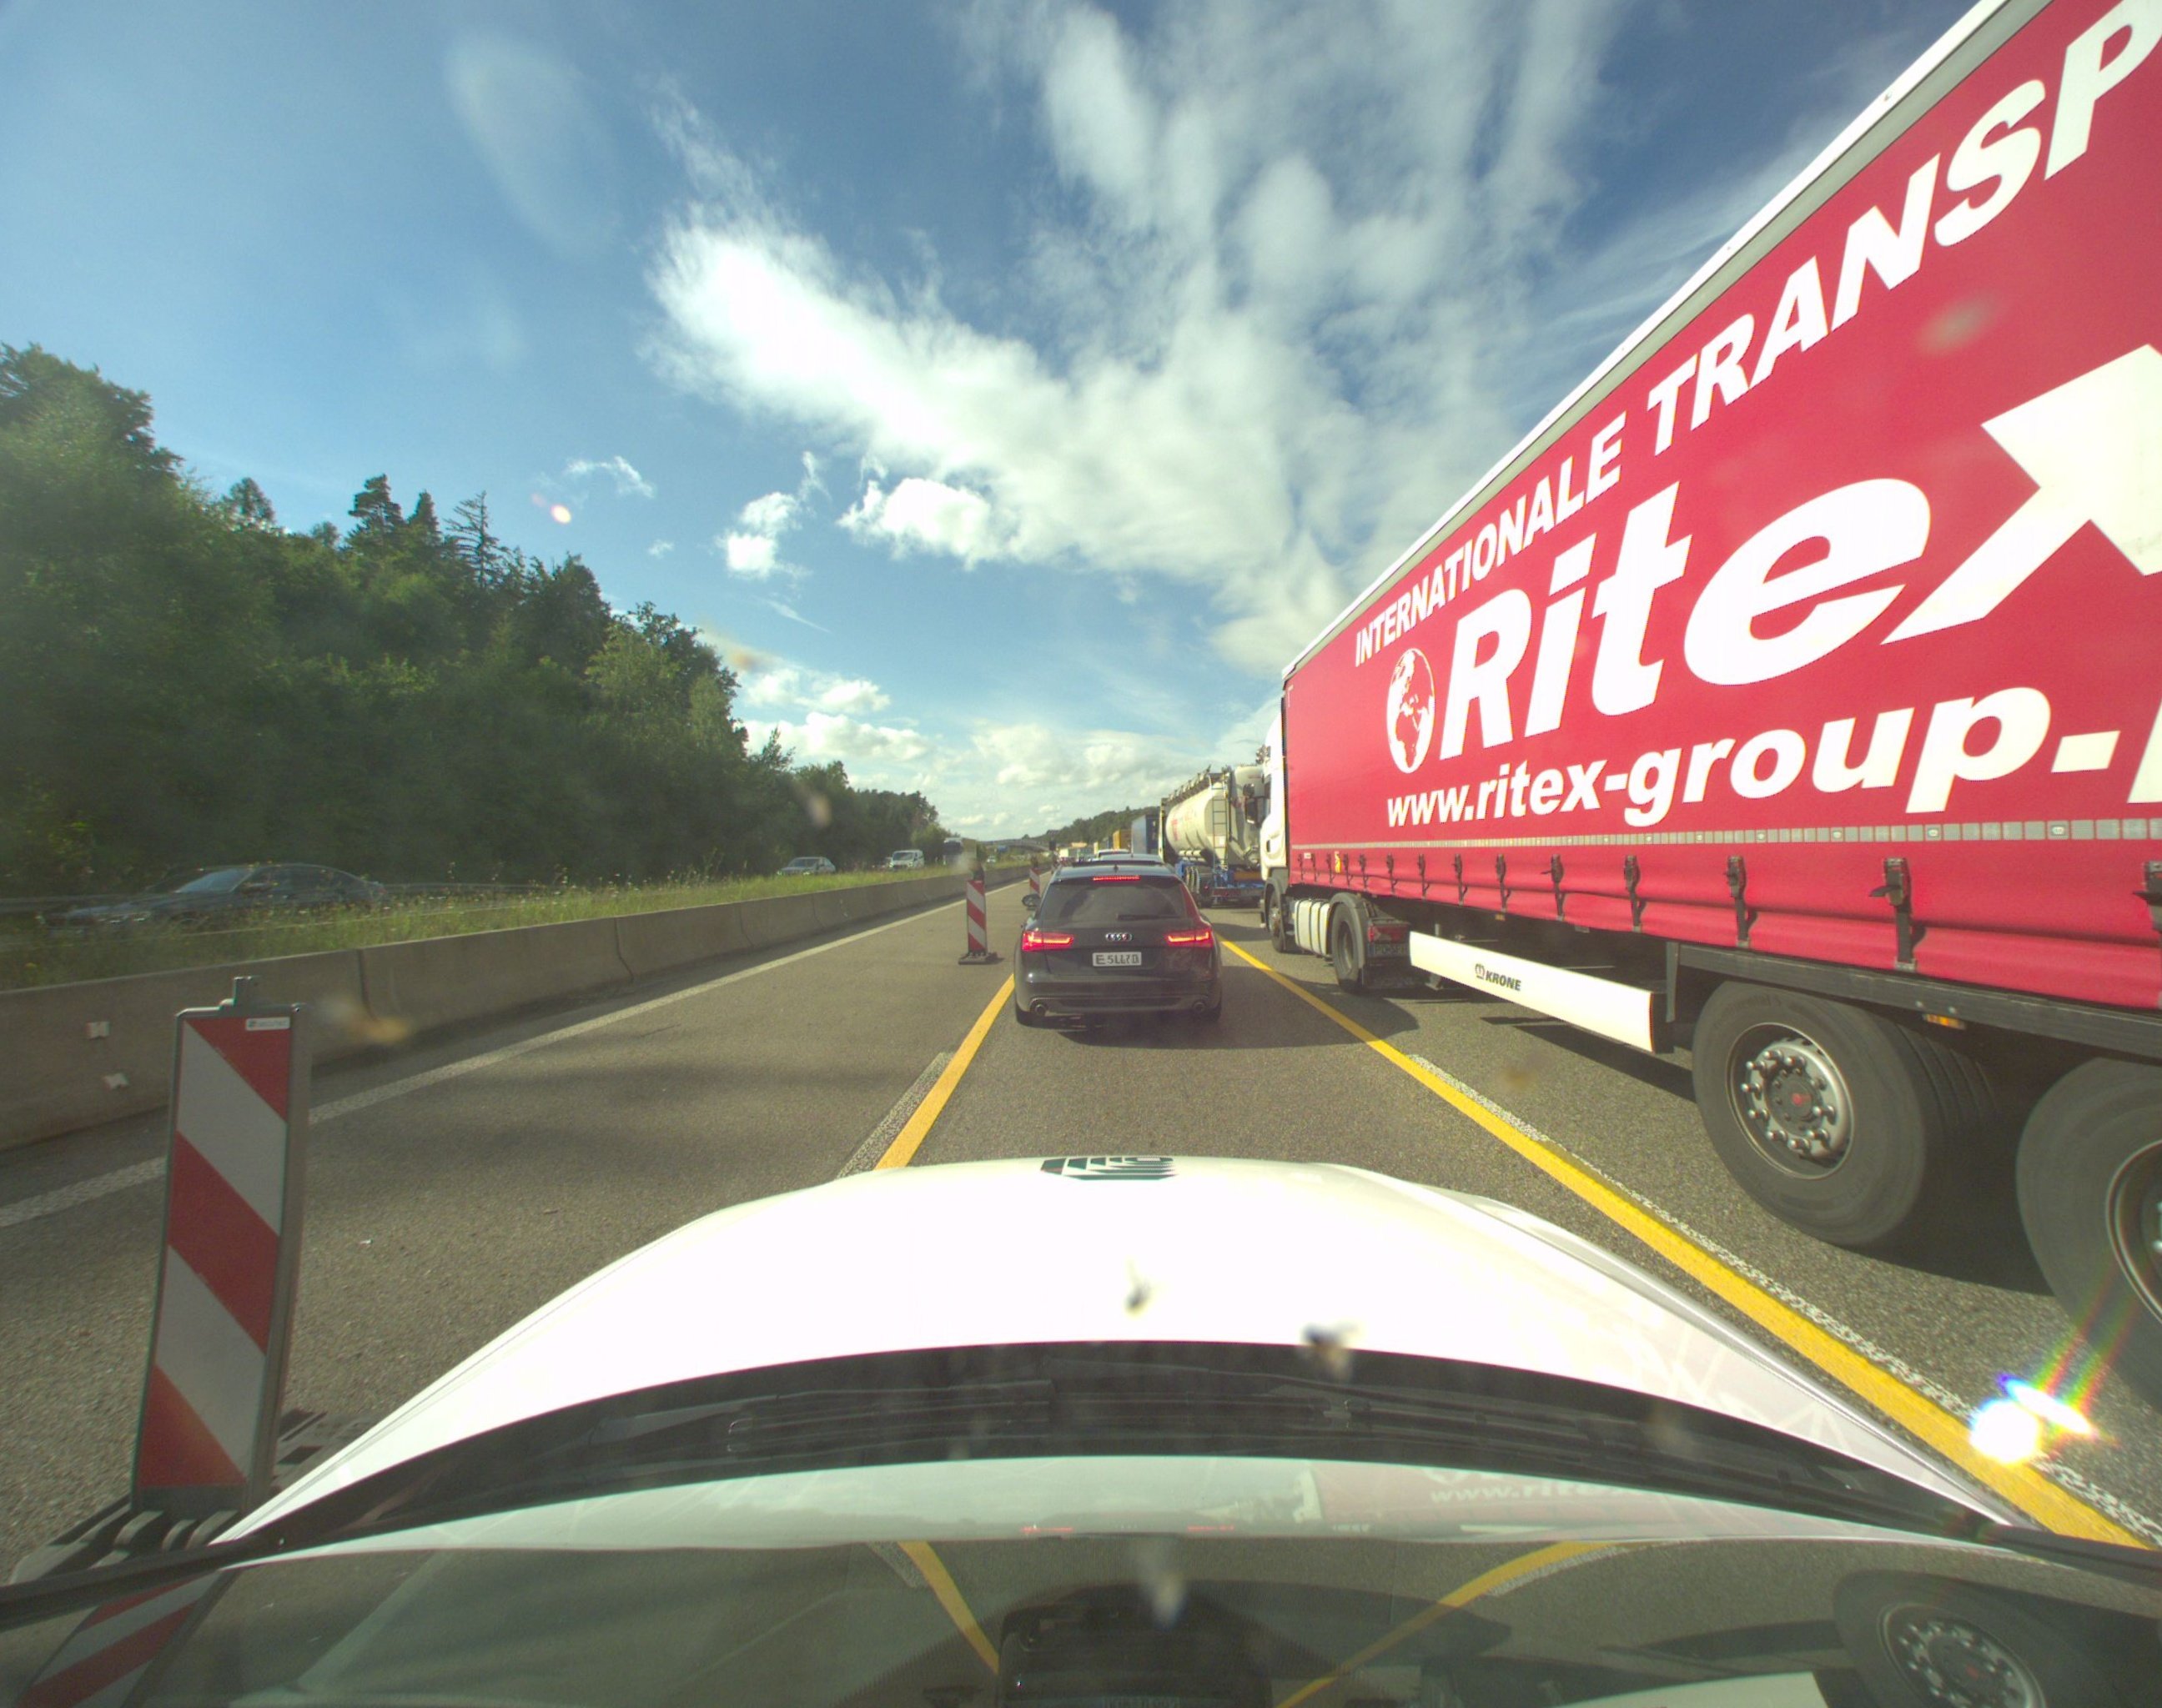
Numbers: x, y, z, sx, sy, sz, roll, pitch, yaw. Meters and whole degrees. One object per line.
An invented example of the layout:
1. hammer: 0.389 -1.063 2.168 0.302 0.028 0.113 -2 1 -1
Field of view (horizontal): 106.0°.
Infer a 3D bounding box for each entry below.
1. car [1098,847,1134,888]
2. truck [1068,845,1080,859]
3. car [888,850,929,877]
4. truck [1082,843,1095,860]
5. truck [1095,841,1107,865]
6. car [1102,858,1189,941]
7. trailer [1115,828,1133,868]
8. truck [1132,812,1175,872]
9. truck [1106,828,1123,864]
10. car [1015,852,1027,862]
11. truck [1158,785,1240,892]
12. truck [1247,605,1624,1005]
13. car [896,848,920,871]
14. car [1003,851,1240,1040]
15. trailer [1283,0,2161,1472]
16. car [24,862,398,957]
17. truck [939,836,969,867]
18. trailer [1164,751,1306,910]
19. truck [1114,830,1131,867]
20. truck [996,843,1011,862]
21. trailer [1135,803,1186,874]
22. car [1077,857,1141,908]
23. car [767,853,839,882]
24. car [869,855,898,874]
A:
1. car: 1.597 0.608 37.578 1.575 1.837 3.113 0 -1 2
2. truck: -2.189 -0.555 244.450 3.295 4.175 9.696 -1 0 -1
3. car: -13.368 0.751 63.271 1.986 2.014 4.833 0 -1 2
4. truck: 2.022 -0.613 212.486 3.293 4.175 9.700 -1 0 0
5. truck: 3.625 -0.182 150.521 2.130 4.257 7.073 0 -1 1
6. car: 1.190 0.810 15.932 1.518 1.439 3.286 0 -1 2
7. trailer: 4.364 -0.567 83.435 1.611 3.918 6.490 0 -1 1
8. truck: 5.516 -0.839 63.187 2.796 4.370 7.794 0 -1 2
9. truck: 4.765 -1.141 117.232 1.987 4.914 9.562 -1 0 0
10. car: -12.017 0.634 162.632 1.986 1.948 4.002 0 -1 2
11. truck: 4.684 -0.558 33.232 2.649 3.972 5.780 0 -1 2
12. truck: 4.101 -0.489 10.960 2.658 3.959 5.711 0 0 1
13. car: -20.865 0.690 98.150 2.247 2.643 5.009 0 -1 -6
14. car: 0.382 0.739 8.431 1.842 1.463 4.001 -1 -1 2
15. trailer: 3.965 -0.517 4.331 2.690 3.969 13.420 -1 0 1
16. car: -14.685 0.842 14.206 1.772 1.387 4.312 0 -1 2
17. truck: -16.527 -0.276 106.676 2.816 3.909 5.951 0 -1 2
18. trailer: 4.479 -0.568 26.644 2.634 3.943 12.602 0 0 2
19. truck: 4.442 -0.530 87.400 1.604 3.897 4.072 0 -1 1
20. truck: -17.099 -0.337 180.846 2.628 4.189 5.469 -1 0 2
21. trailer: 5.284 -0.930 55.739 2.795 4.413 10.436 0 -1 2
22. car: 0.824 0.798 24.113 1.745 1.397 3.609 0 -1 2
23. car: -13.703 0.654 40.438 1.951 1.363 4.289 0 -1 2
24. car: -21.372 1.124 88.290 1.986 2.014 4.001 0 -1 2
